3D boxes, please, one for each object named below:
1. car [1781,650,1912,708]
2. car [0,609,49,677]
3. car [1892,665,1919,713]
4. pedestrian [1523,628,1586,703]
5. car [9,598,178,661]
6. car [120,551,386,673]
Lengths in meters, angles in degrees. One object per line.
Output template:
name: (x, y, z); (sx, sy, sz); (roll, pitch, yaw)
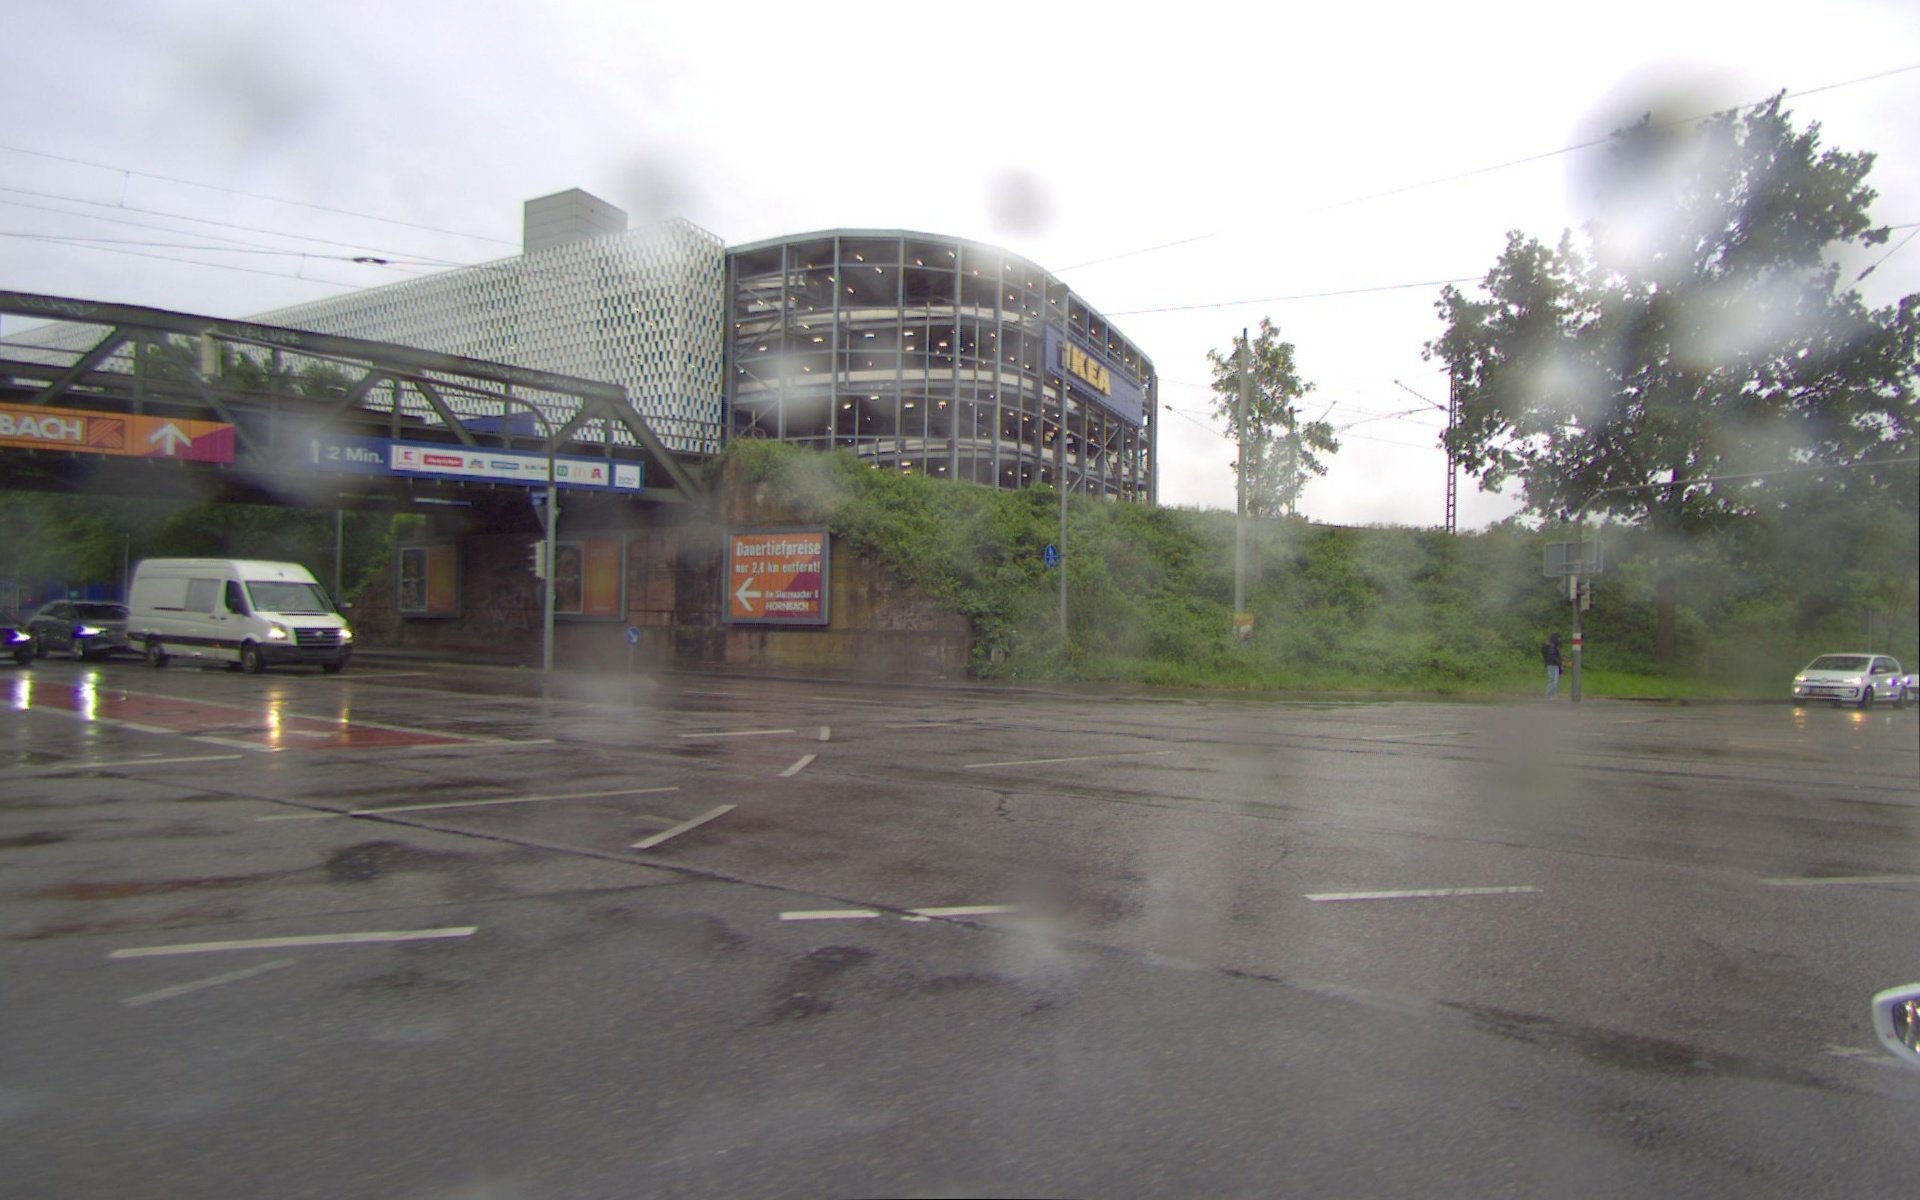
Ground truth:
car: (24.667, 2.171, 27.936); (3.743, 1.471, 1.630); (2, -2, -30)
car: (-24.709, 1.019, 25.061); (3.838, 1.621, 1.653); (1, -2, 28)
car: (30.307, 2.726, 30.715); (3.776, 1.422, 1.584); (2, -2, -29)
pedestrian: (15.374, 1.669, 25.980); (1.121, 1.871, 1.093); (3, -2, -39)
car: (-24.563, 0.801, 28.456); (4.860, 1.621, 1.881); (1, -2, 27)
car: (-17.326, 0.279, 24.508); (6.850, 2.645, 2.385); (1, -2, 28)
